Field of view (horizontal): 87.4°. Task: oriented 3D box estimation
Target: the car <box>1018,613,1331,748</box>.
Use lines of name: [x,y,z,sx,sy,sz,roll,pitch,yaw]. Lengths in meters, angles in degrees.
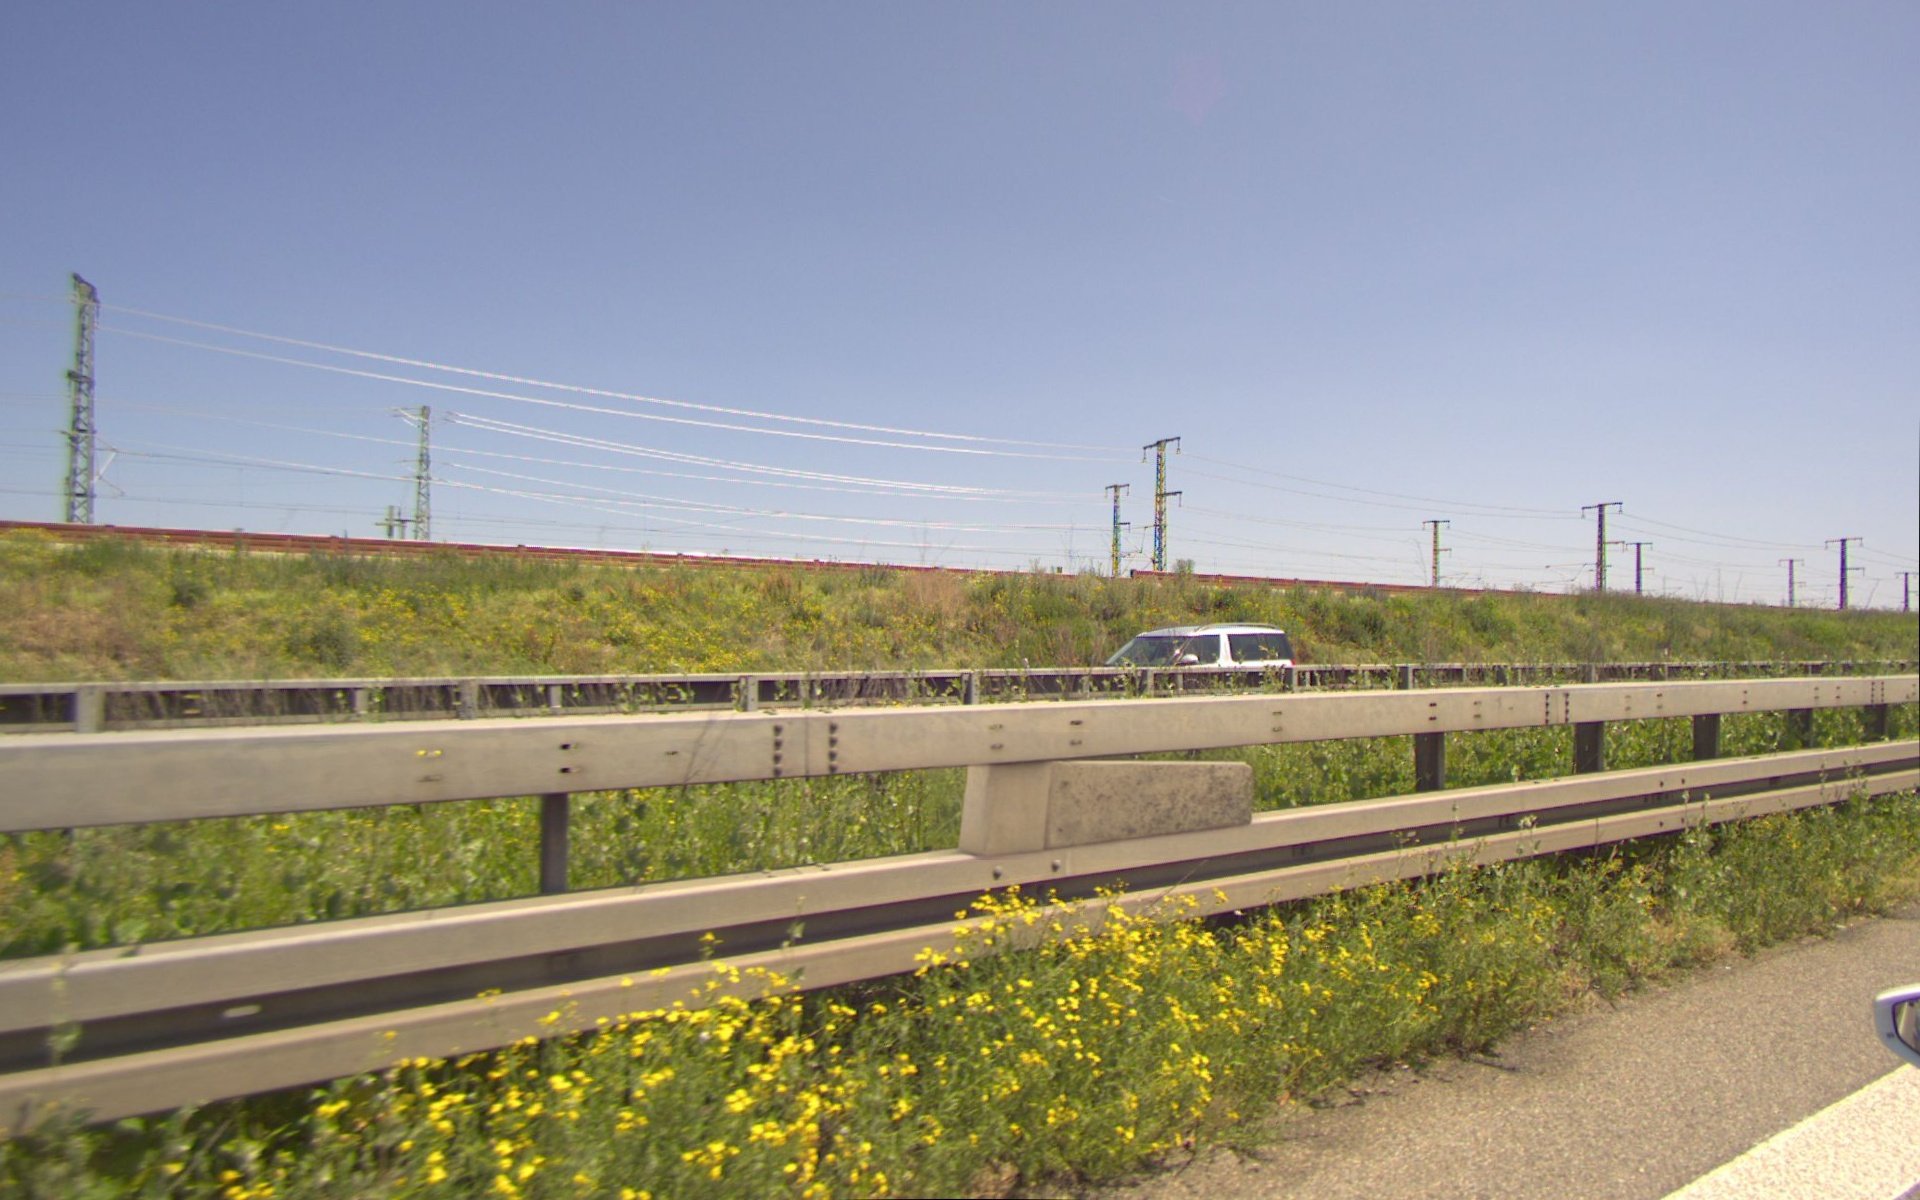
car: [3.299,1.122,15.222,4.505,1.758,1.983,2,-1,-31]
